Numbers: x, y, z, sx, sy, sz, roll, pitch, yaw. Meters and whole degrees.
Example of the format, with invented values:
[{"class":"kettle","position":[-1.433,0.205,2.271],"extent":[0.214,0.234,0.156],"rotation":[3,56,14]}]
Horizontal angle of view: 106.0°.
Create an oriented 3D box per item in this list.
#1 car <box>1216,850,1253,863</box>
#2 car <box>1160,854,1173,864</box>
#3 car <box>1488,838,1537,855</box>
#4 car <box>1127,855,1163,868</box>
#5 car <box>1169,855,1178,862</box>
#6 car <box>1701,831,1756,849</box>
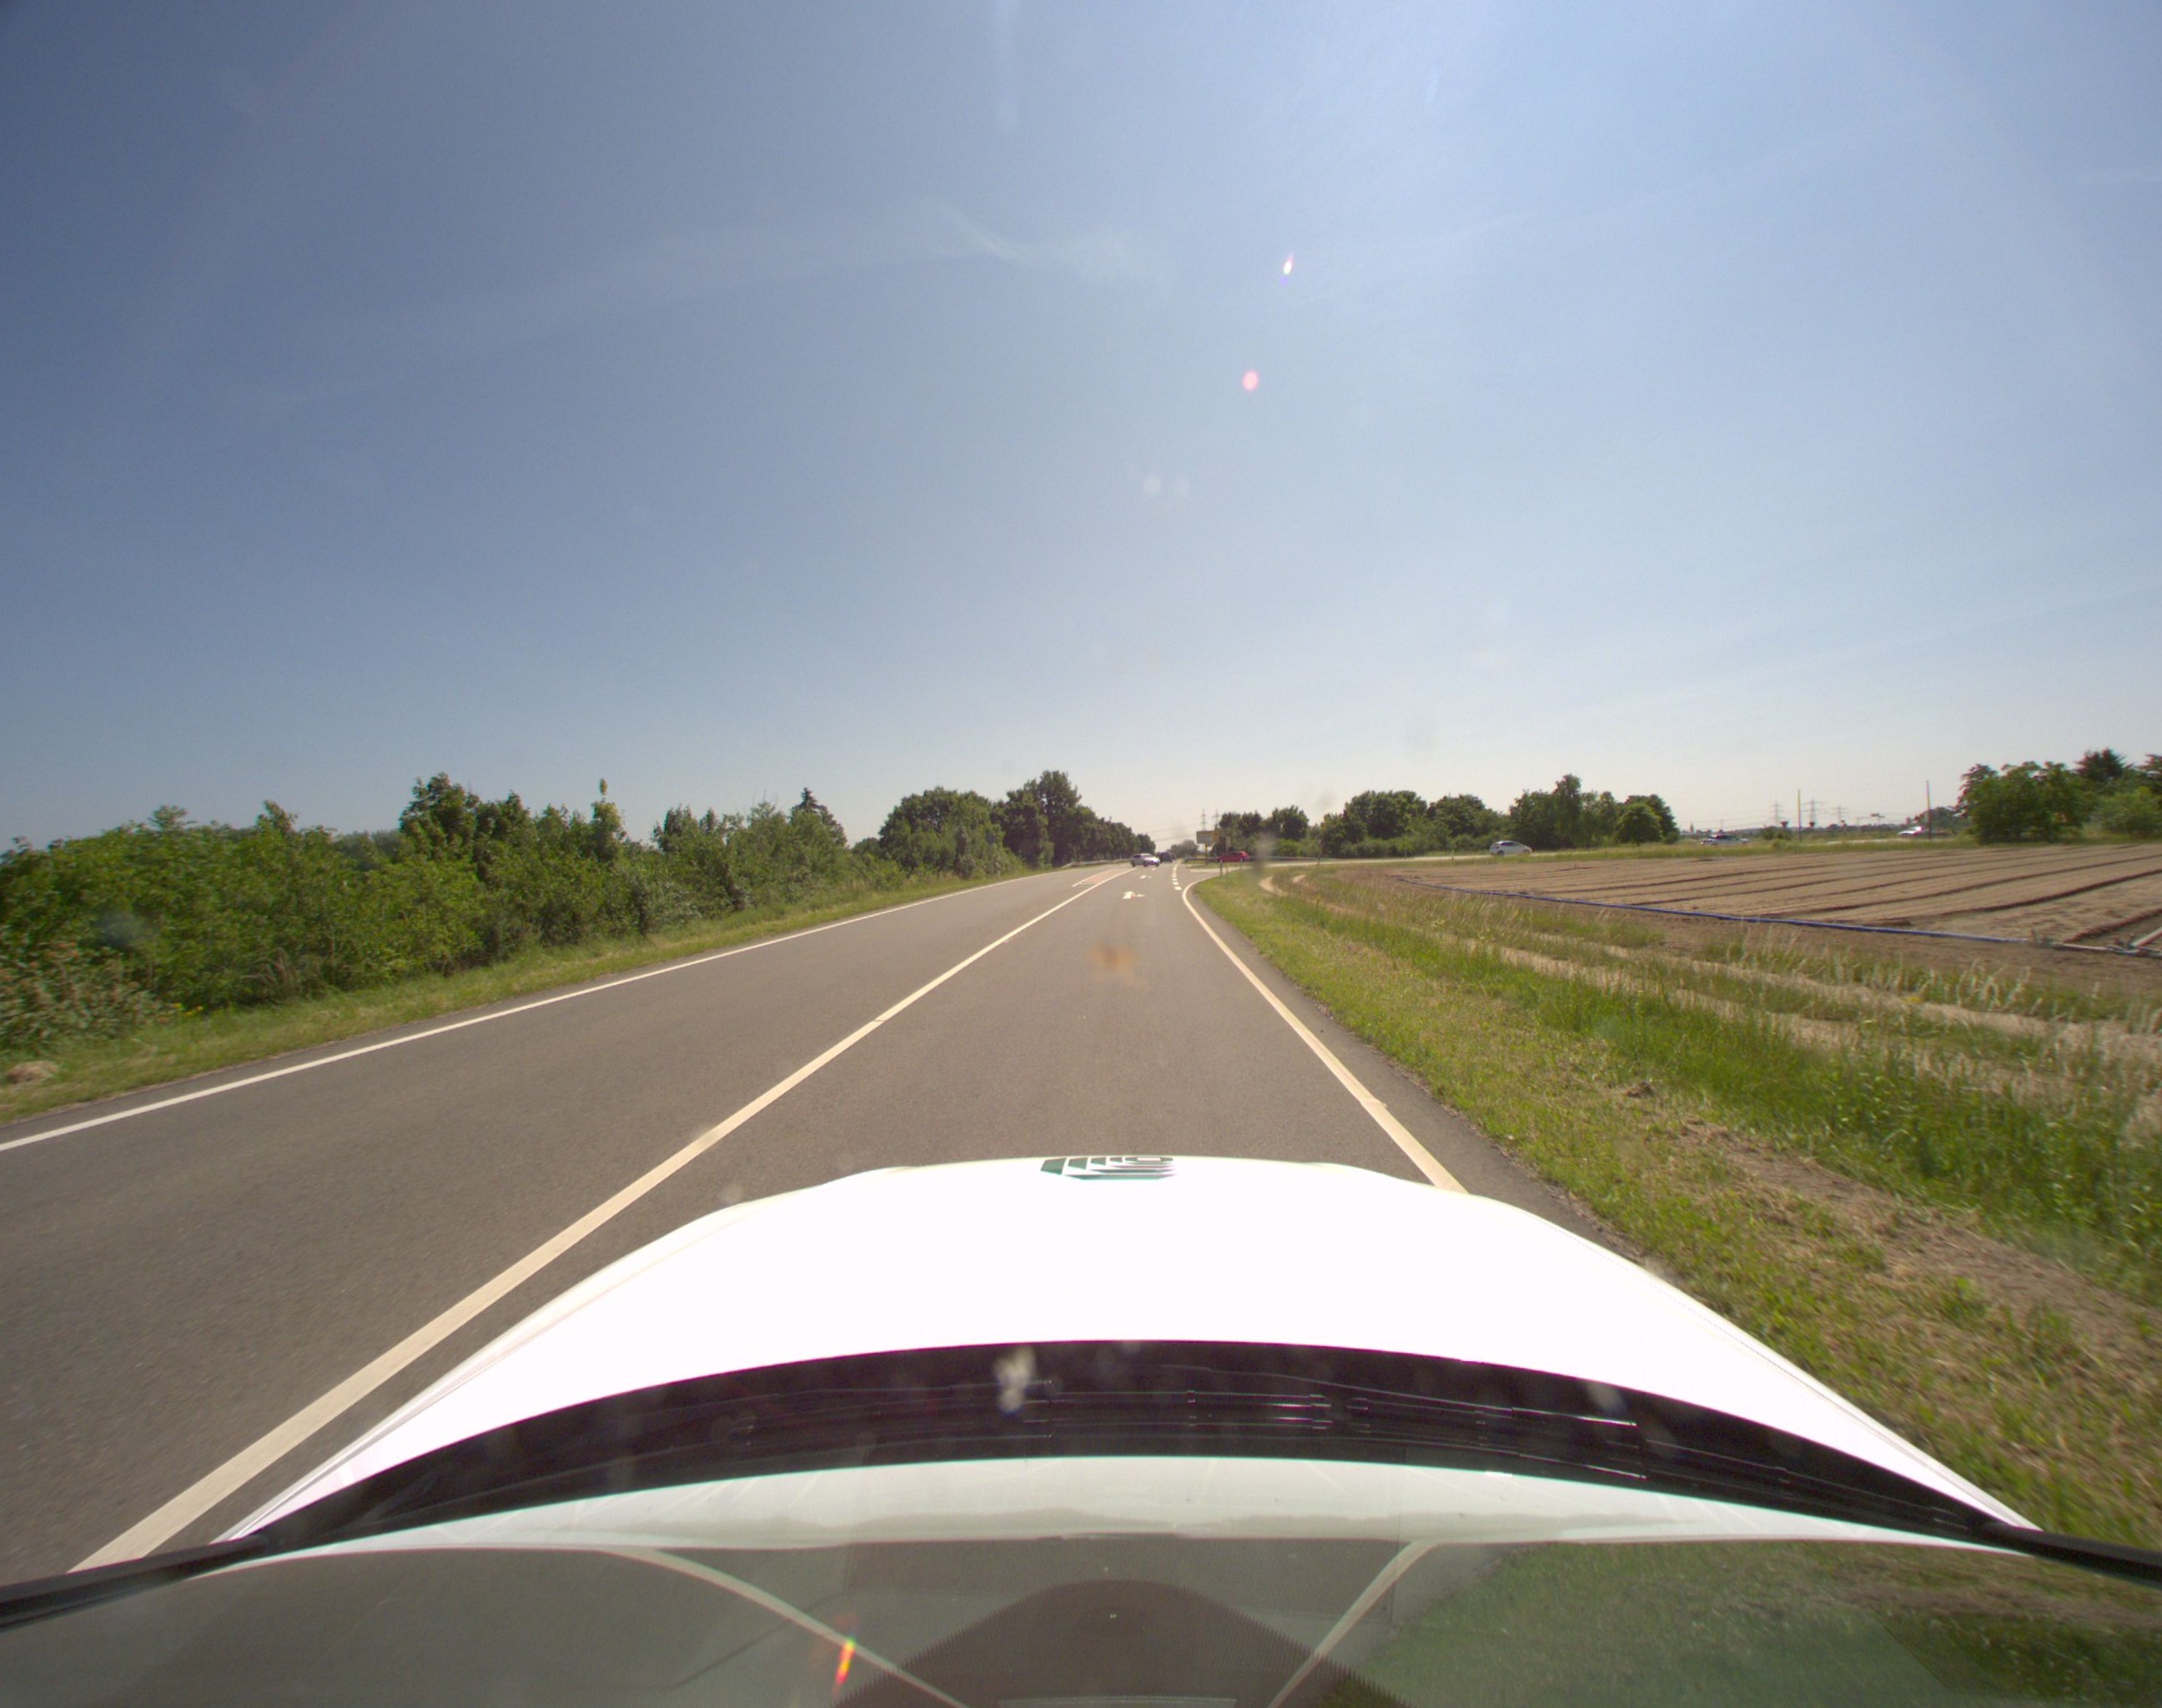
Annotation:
[{"class":"car","position":[18.380,0.270,97.518],"extent":[4.118,1.418,1.788],"rotation":[-2,-1,20]},{"class":"car","position":[12.582,0.744,120.428],"extent":[1.876,1.518,4.045],"rotation":[0,0,5]},{"class":"car","position":[45.588,-0.802,86.095],"extent":[4.108,1.623,2.074],"rotation":[-2,0,6]},{"class":"car","position":[7.244,0.813,92.705],"extent":[1.846,1.418,4.671],"rotation":[0,0,-29]},{"class":"car","position":[17.714,0.915,156.474],"extent":[1.636,1.341,4.045],"rotation":[0,0,5]},{"class":"car","position":[64.108,-1.378,80.696],"extent":[3.954,1.623,1.652],"rotation":[-2,0,19]}]
